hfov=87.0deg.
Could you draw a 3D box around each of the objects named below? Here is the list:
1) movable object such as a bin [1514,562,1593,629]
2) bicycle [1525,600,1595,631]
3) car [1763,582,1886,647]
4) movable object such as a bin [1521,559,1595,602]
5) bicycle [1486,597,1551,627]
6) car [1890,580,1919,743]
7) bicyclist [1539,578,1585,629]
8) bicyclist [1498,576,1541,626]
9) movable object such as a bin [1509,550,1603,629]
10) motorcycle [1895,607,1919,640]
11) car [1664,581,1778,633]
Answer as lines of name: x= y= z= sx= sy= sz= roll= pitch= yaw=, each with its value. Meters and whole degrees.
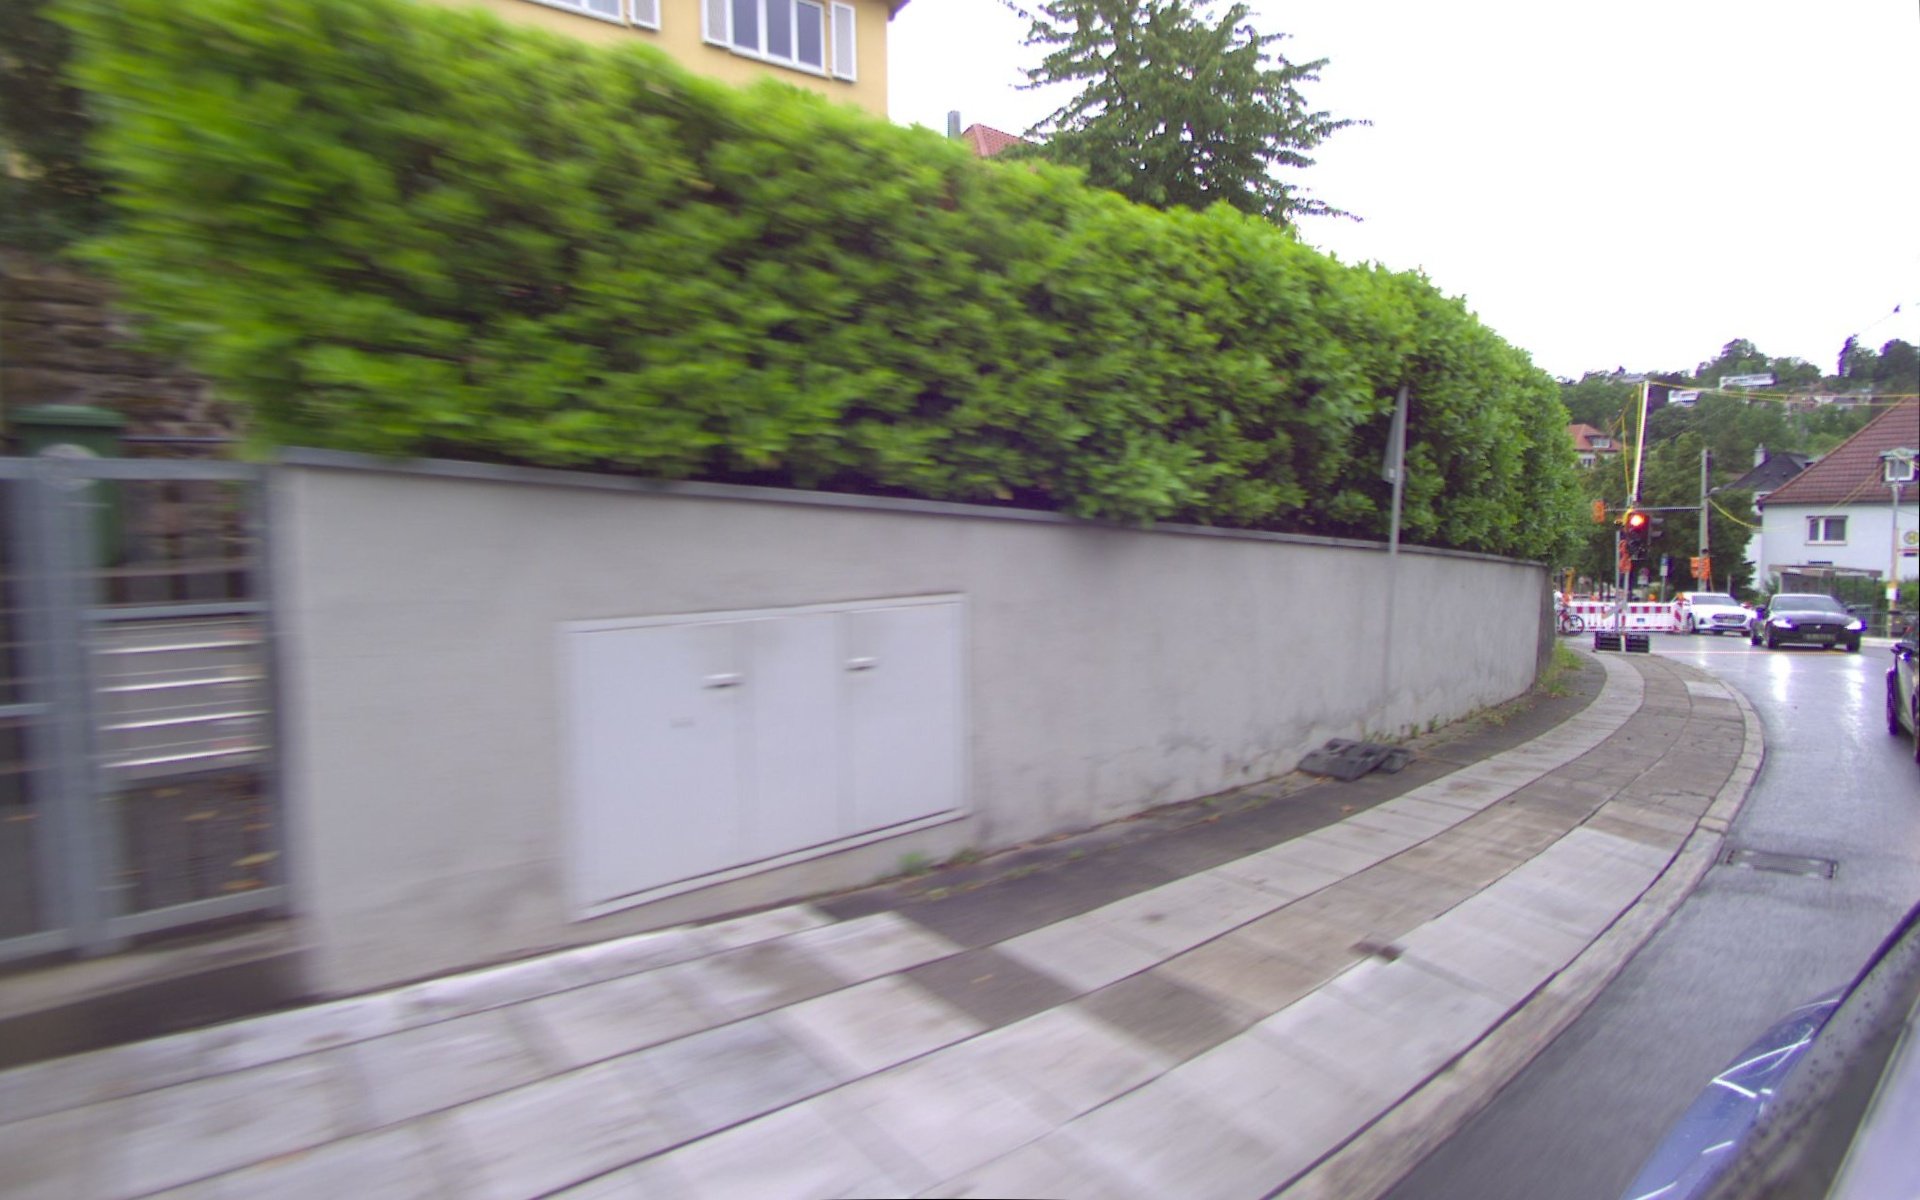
movable object such as a bin: x=27.973 y=-0.312 z=47.922 sx=2.066 sy=2.872 sz=5.644 roll=1 pitch=3 yaw=19
bicycle: x=20.696 y=0.529 z=34.950 sx=1.854 sy=0.993 sz=0.930 roll=1 pitch=1 yaw=11
car: x=22.156 y=0.313 z=26.097 sx=1.831 sy=1.420 sz=4.024 roll=3 pitch=3 yaw=33
movable object such as a bin: x=57.305 y=-1.876 z=96.949 sx=7.067 sy=3.886 sz=3.333 roll=0 pitch=3 yaw=-35
bicycle: x=20.087 y=0.405 z=36.439 sx=0.915 sy=0.993 sz=1.829 roll=0 pitch=2 yaw=-36
car: x=10.302 y=0.593 z=9.741 sx=1.668 sy=1.484 sz=4.649 roll=3 pitch=3 yaw=39
bicyclist: x=20.769 y=0.108 z=34.925 sx=1.060 sy=1.750 sz=0.930 roll=1 pitch=1 yaw=11
bicyclist: x=20.117 y=0.016 z=36.387 sx=0.915 sy=1.750 sz=1.077 roll=0 pitch=1 yaw=-36
movable object such as a bin: x=23.432 y=-0.424 z=40.020 sx=2.066 sy=2.874 sz=5.641 roll=1 pitch=1 yaw=19
motorcycle: x=31.627 y=0.784 z=33.031 sx=0.659 sy=1.049 sz=2.142 roll=2 pitch=1 yaw=15
car: x=29.029 y=0.202 z=38.800 sx=1.975 sy=1.730 sz=4.550 roll=2 pitch=3 yaw=17
